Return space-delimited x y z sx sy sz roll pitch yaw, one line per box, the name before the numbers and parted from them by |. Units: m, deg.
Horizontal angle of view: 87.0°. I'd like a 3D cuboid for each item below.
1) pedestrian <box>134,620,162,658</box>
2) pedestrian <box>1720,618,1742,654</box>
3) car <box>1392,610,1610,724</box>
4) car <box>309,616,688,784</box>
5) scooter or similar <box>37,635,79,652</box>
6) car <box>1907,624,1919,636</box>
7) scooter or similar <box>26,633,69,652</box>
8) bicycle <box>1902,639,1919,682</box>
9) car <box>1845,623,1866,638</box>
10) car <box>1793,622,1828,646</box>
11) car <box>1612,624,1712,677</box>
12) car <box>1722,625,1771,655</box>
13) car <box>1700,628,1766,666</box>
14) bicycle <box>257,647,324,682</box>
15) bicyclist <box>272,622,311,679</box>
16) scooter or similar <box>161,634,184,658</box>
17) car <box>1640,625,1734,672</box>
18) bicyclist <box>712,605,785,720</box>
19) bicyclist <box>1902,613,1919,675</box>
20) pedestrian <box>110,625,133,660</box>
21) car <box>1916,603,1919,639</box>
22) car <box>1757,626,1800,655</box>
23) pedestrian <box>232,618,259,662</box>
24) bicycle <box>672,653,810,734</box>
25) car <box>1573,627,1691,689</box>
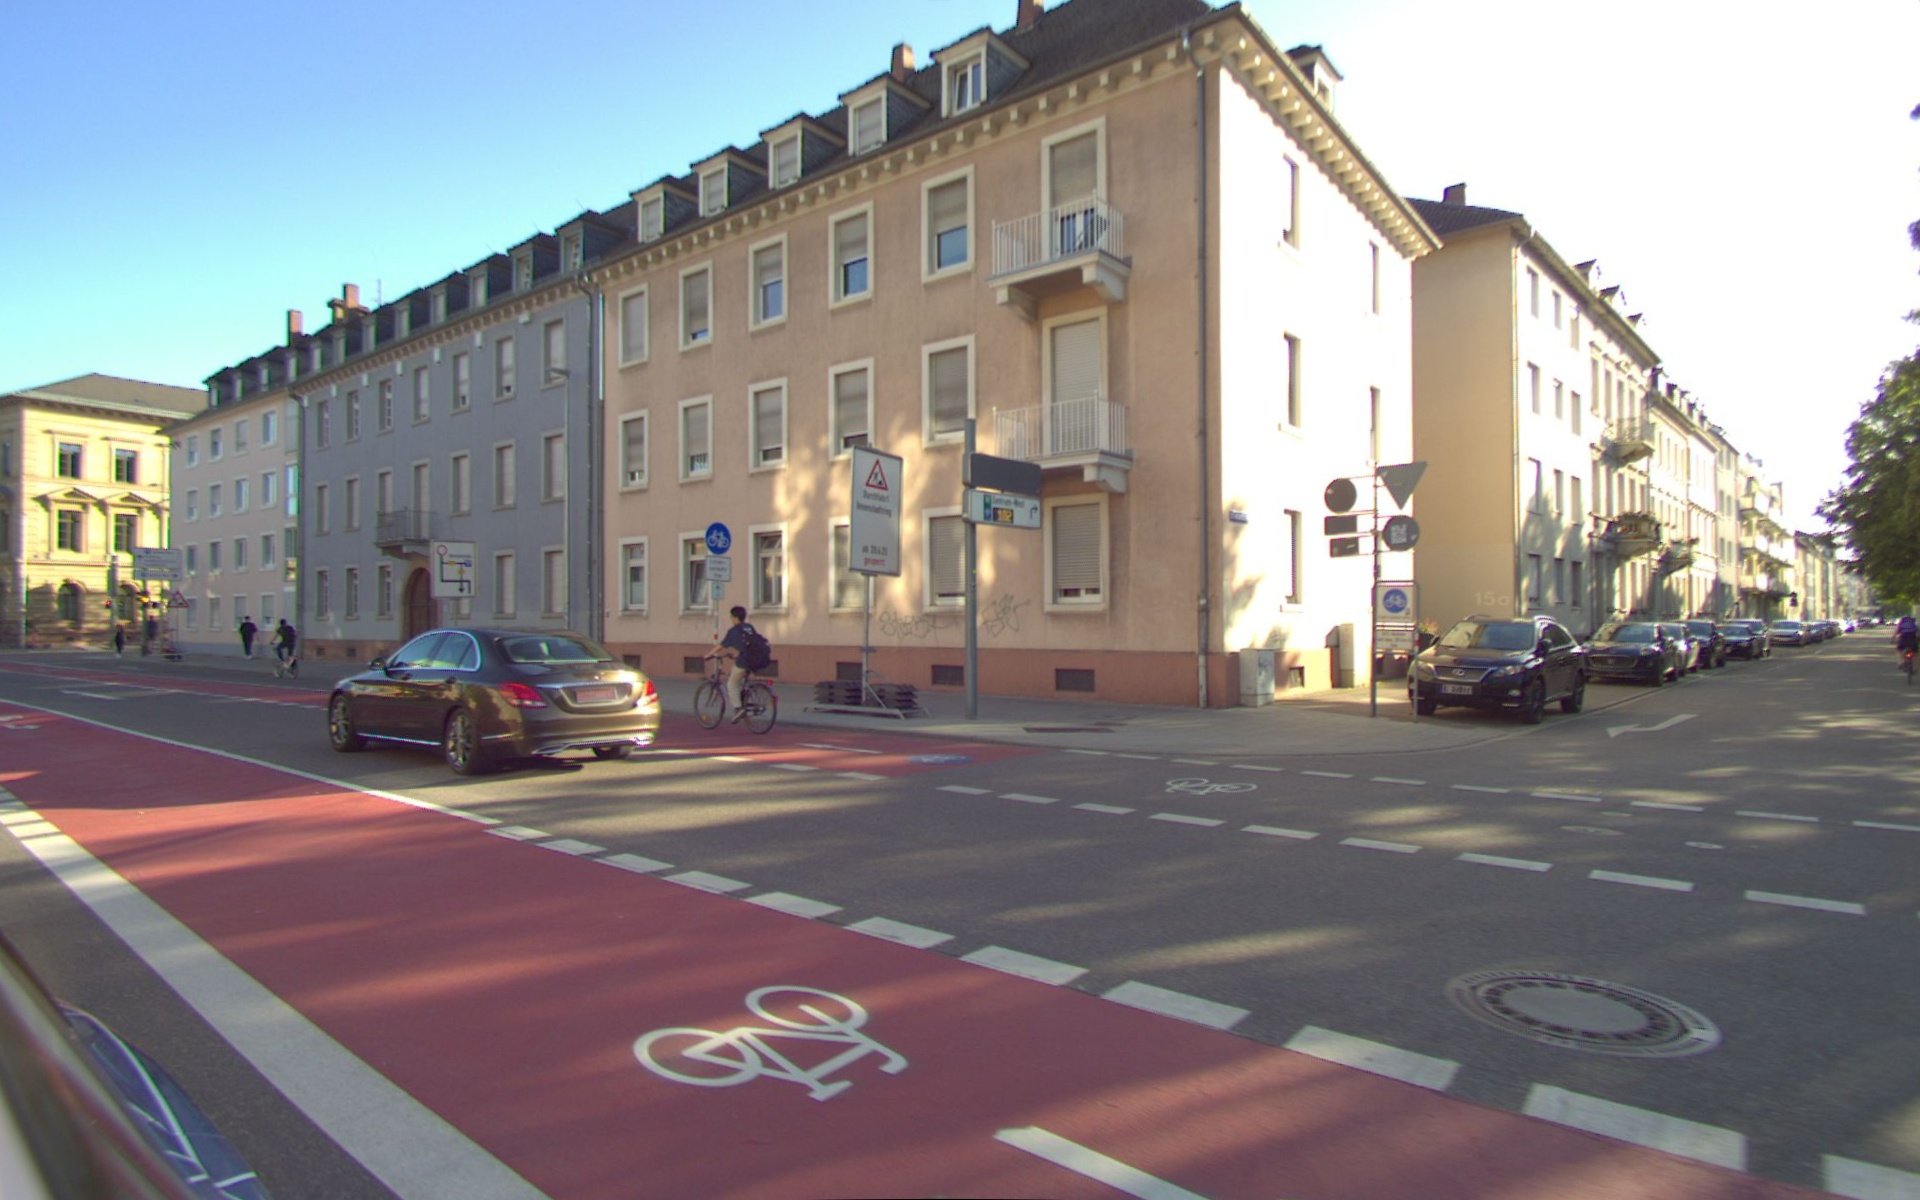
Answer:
pedestrian | -41.113 1.984 51.216 1.013 1.877 0.859 -2 0 38
pedestrian | 43.312 2.007 56.852 0.975 2.029 0.837 1 -2 -45
car | 9.391 1.073 17.391 4.522 1.691 2.062 2 -3 -45
car | -5.049 0.927 10.794 4.548 1.430 1.794 -2 -2 38
scooter or similar | -59.534 2.860 66.831 0.454 1.060 2.011 -2 -2 32
car | 130.817 4.101 138.236 1.758 1.734 3.947 -2 -2 39
scooter or similar | -59.339 2.781 65.833 1.999 1.197 0.457 1 -2 -33
bicycle | 23.719 1.491 24.895 0.739 1.003 2.079 -2 -4 42
car | 107.747 3.696 121.766 1.760 1.734 3.943 -2 -2 43
car | 62.657 2.471 74.562 1.826 1.697 3.944 -2 -2 42
car | 20.545 1.427 29.554 1.878 1.431 4.210 -2 -3 42
car | 35.022 1.775 45.032 1.477 1.279 3.366 -2 -3 42
car | 31.021 1.864 40.587 1.810 1.431 3.945 -2 -3 41
bicycle | -20.493 1.963 30.980 2.095 1.003 0.643 -1 -3 23
bicyclist | -20.457 1.556 30.975 0.734 1.723 0.632 0 -4 24
scooter or similar | -39.157 2.275 50.310 1.471 1.194 0.528 -2 -1 38
car | 23.785 1.547 33.063 2.000 1.431 3.943 -2 -3 43
bicyclist | -2.862 0.849 13.717 0.664 1.497 0.649 -2 -5 38
bicyclist | 23.758 1.089 24.954 0.740 1.497 0.655 -2 -4 43
pedestrian | -39.258 1.986 47.372 0.816 1.595 0.626 -1 1 36
car | 73.406 1.584 75.836 2.412 2.666 5.033 -2 -2 42
car | 49.815 2.431 61.555 1.826 1.697 3.944 -2 -3 42
pedestrian | -31.147 1.731 44.140 1.011 1.860 0.626 -1 1 36
bicycle | -3.013 1.235 13.807 2.106 1.003 0.645 -2 -4 39
car | 17.117 1.426 25.707 1.957 1.431 4.142 -2 -3 41
